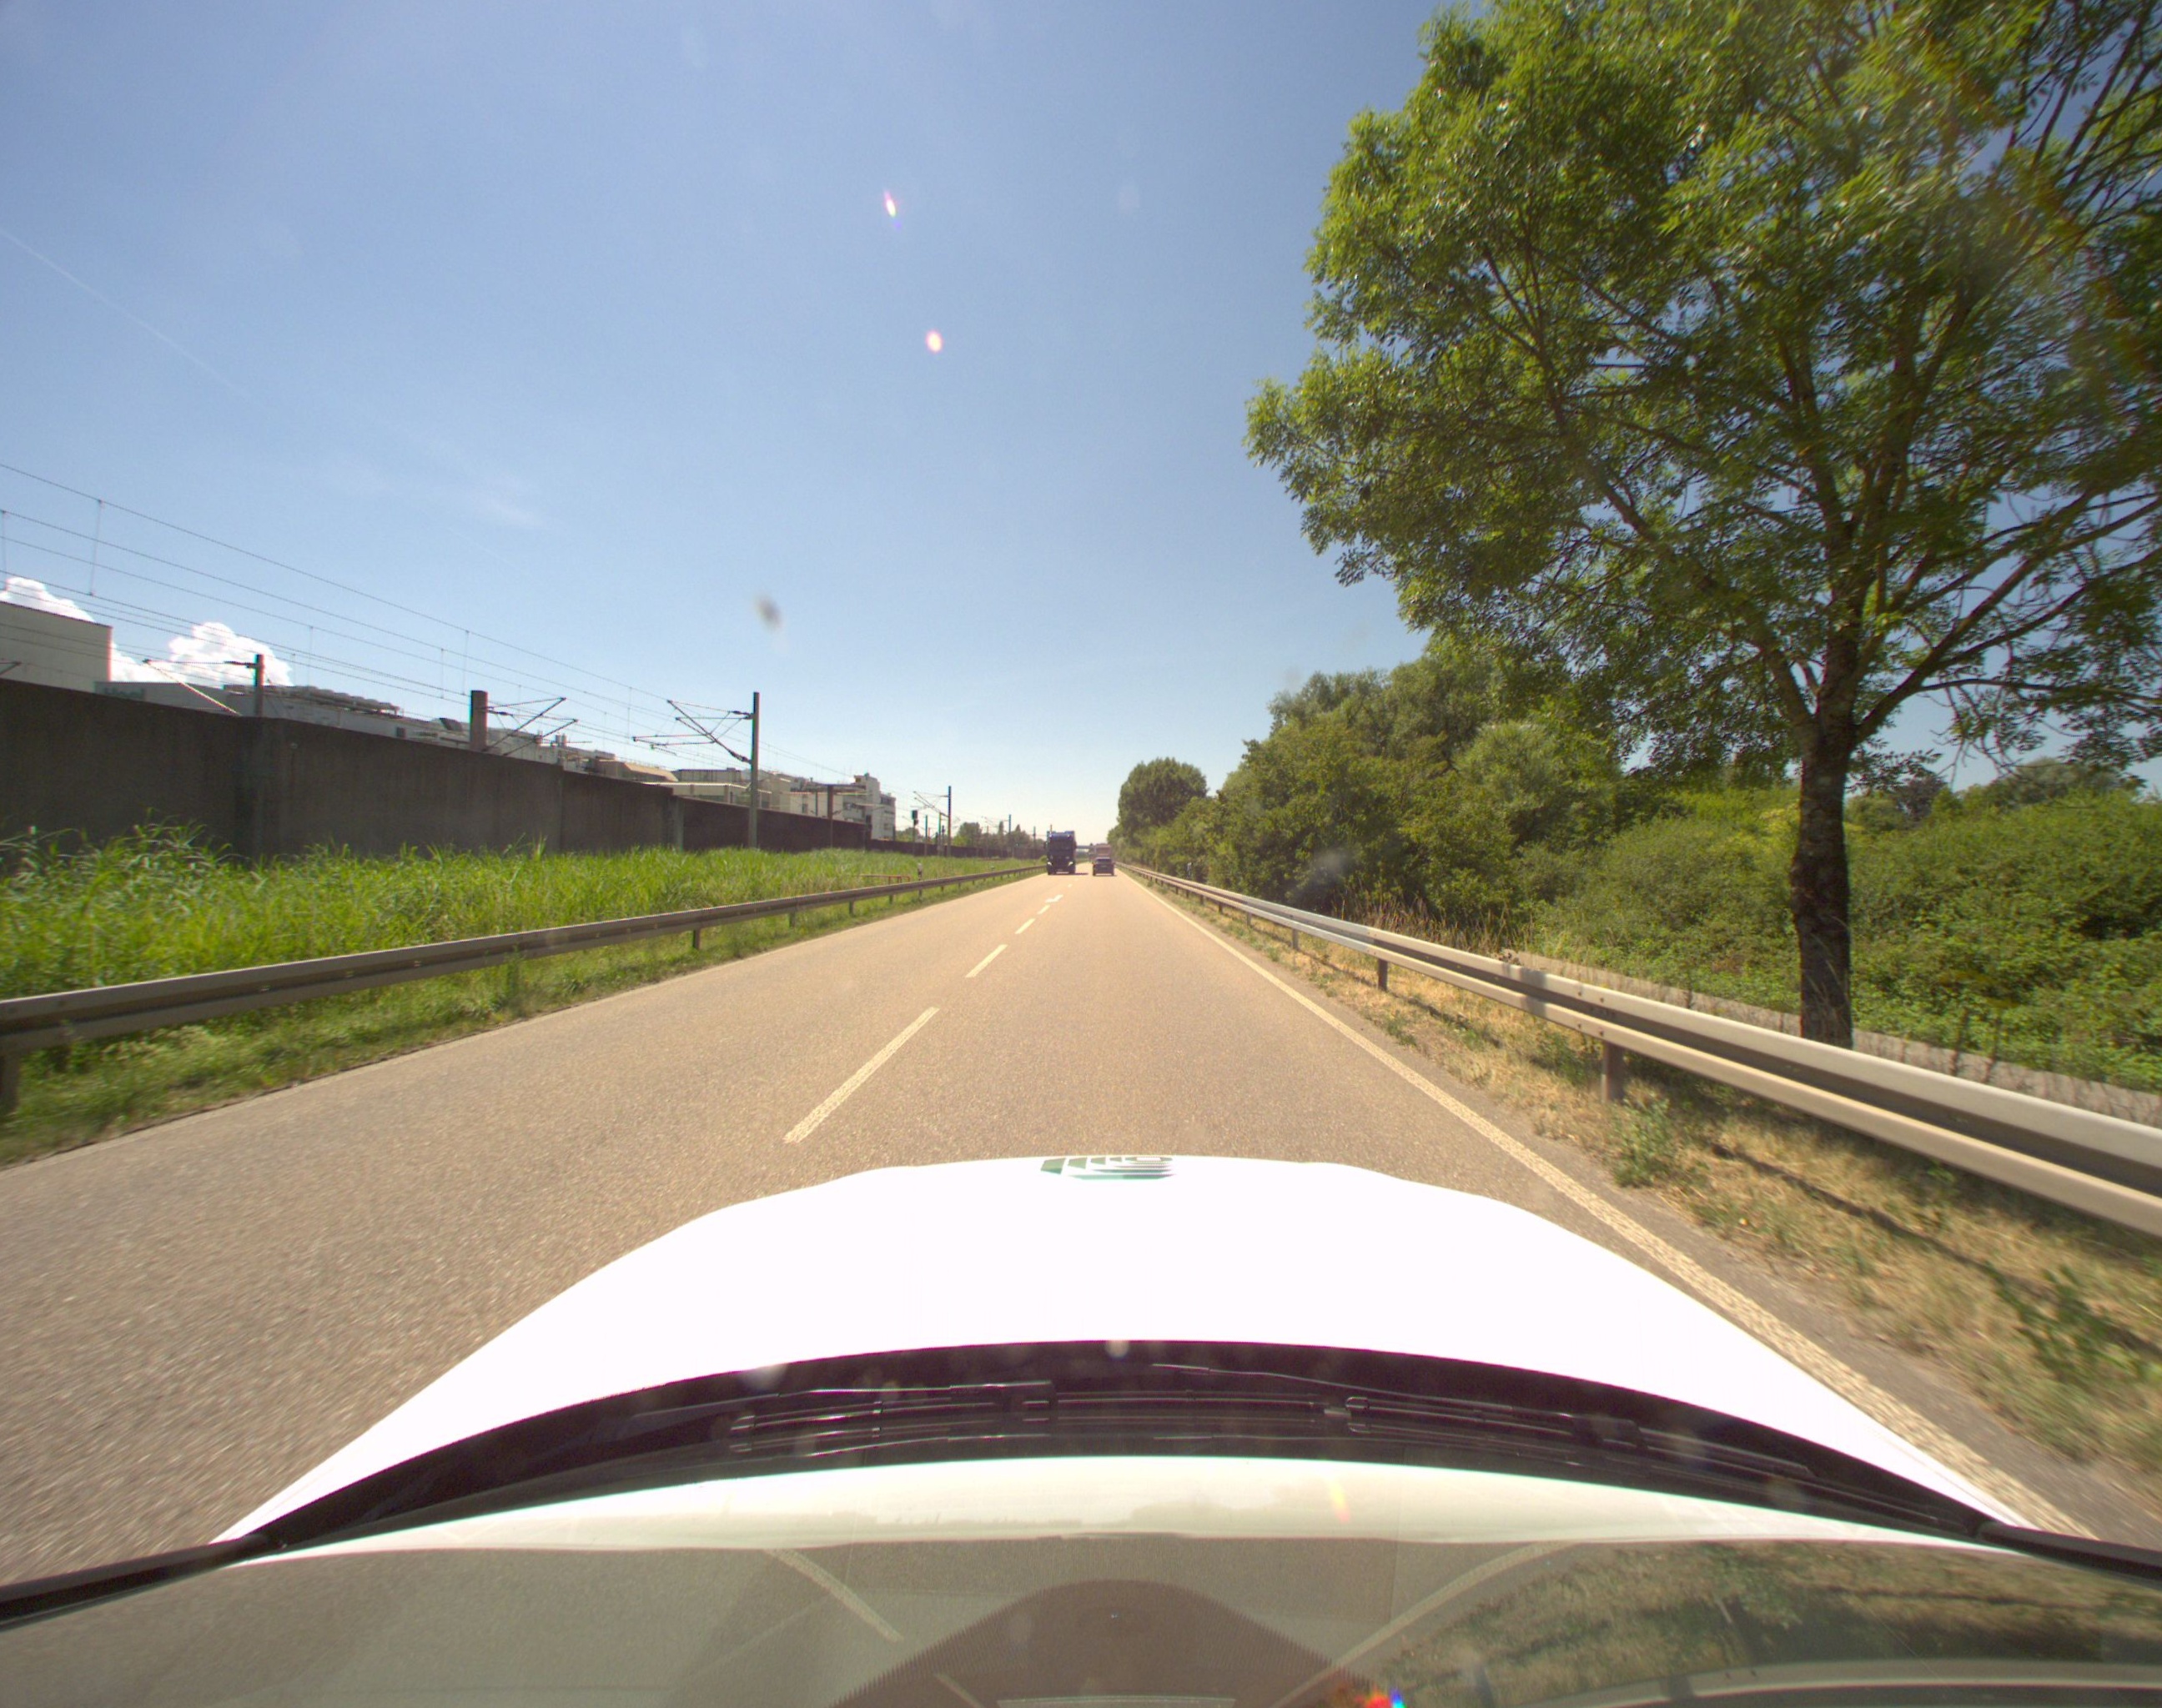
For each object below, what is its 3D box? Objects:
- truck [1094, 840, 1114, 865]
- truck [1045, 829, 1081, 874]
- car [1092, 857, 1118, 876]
[{"bbox_3d":[3.381,-0.182,120.491,2.760,3.425,10.822,0,-1,1],"label":"truck"},{"bbox_3d":[-1.619,-0.217,77.728,2.787,3.978,10.502,-2,0,1],"label":"truck"},{"bbox_3d":[1.989,1.036,69.080,1.988,1.508,3.998,0,0,-1],"label":"car"}]
